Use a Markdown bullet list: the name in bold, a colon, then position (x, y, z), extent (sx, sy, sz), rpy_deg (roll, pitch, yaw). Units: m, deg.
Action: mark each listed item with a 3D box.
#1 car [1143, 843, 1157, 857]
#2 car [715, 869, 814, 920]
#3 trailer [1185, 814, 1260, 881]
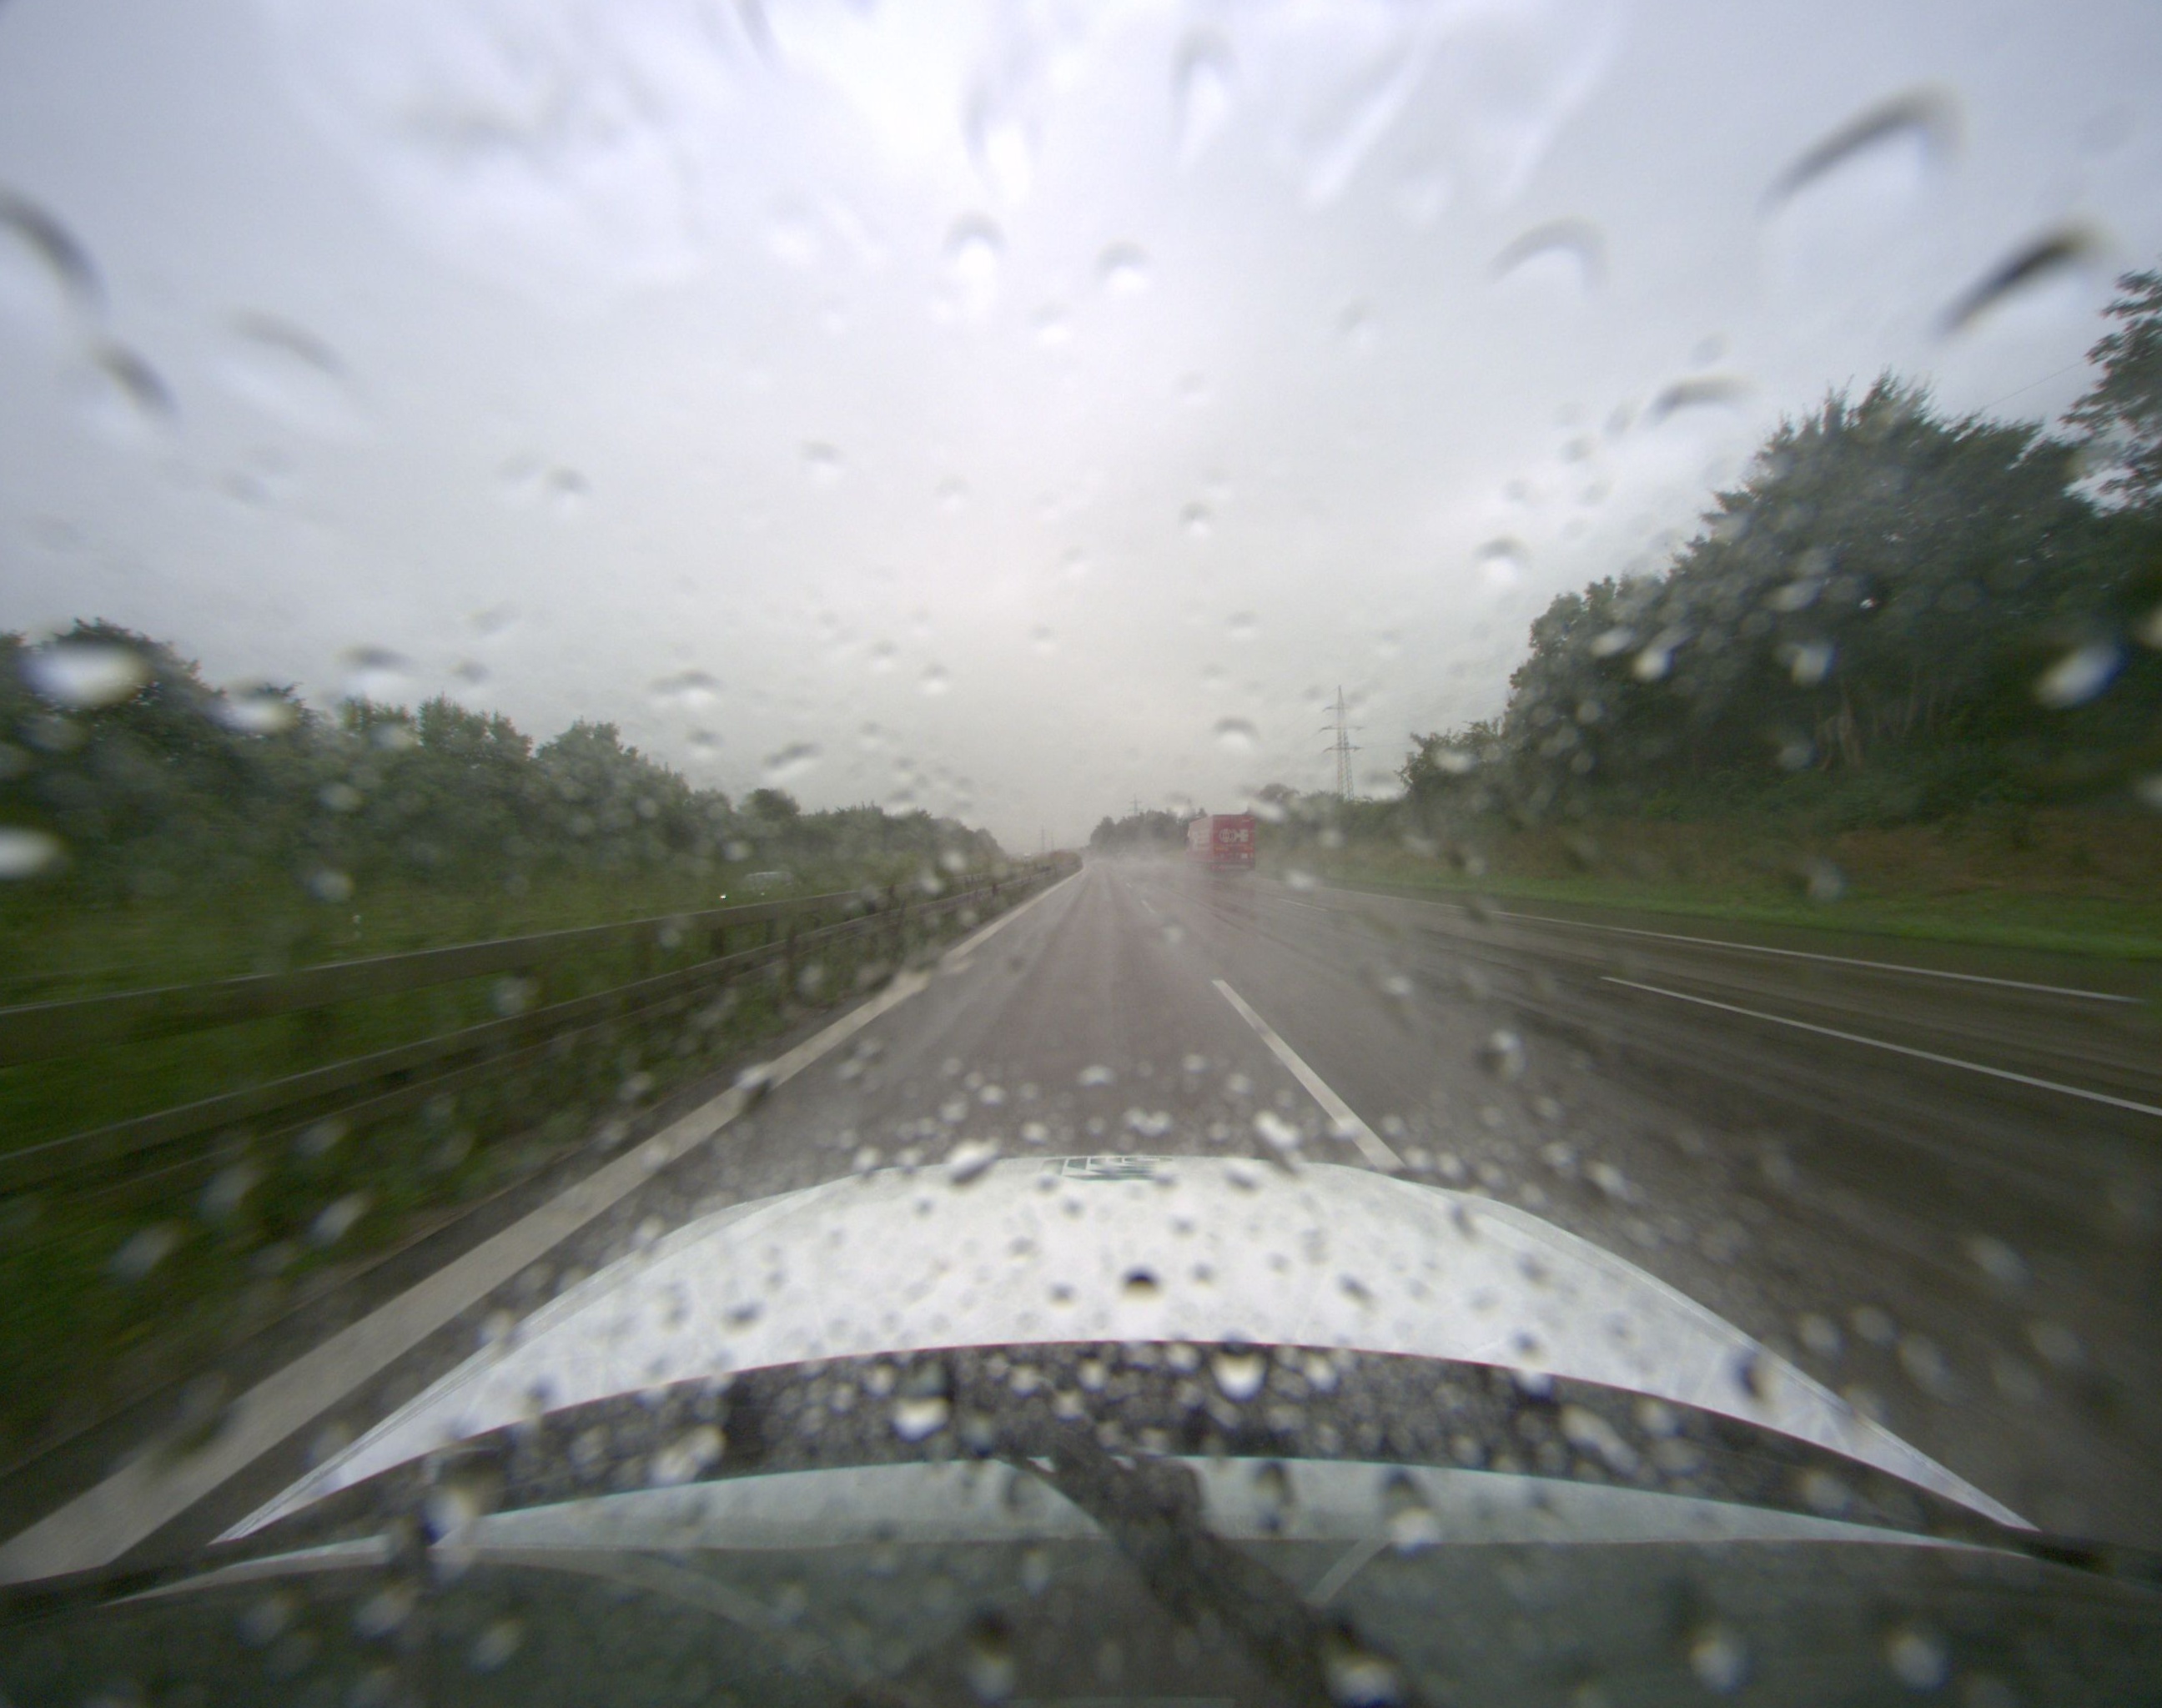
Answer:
- **car**: position (11.365, -0.622, 134.891), extent (1.802, 2.158, 3.998), rpy_deg (-4, 0, -1)
- **car**: position (-12.417, 1.535, 32.356), extent (1.789, 1.682, 4.959), rpy_deg (-3, 0, 1)
- **trailer**: position (9.570, -0.394, 56.969), extent (2.612, 3.955, 13.626), rpy_deg (-4, 0, 0)
